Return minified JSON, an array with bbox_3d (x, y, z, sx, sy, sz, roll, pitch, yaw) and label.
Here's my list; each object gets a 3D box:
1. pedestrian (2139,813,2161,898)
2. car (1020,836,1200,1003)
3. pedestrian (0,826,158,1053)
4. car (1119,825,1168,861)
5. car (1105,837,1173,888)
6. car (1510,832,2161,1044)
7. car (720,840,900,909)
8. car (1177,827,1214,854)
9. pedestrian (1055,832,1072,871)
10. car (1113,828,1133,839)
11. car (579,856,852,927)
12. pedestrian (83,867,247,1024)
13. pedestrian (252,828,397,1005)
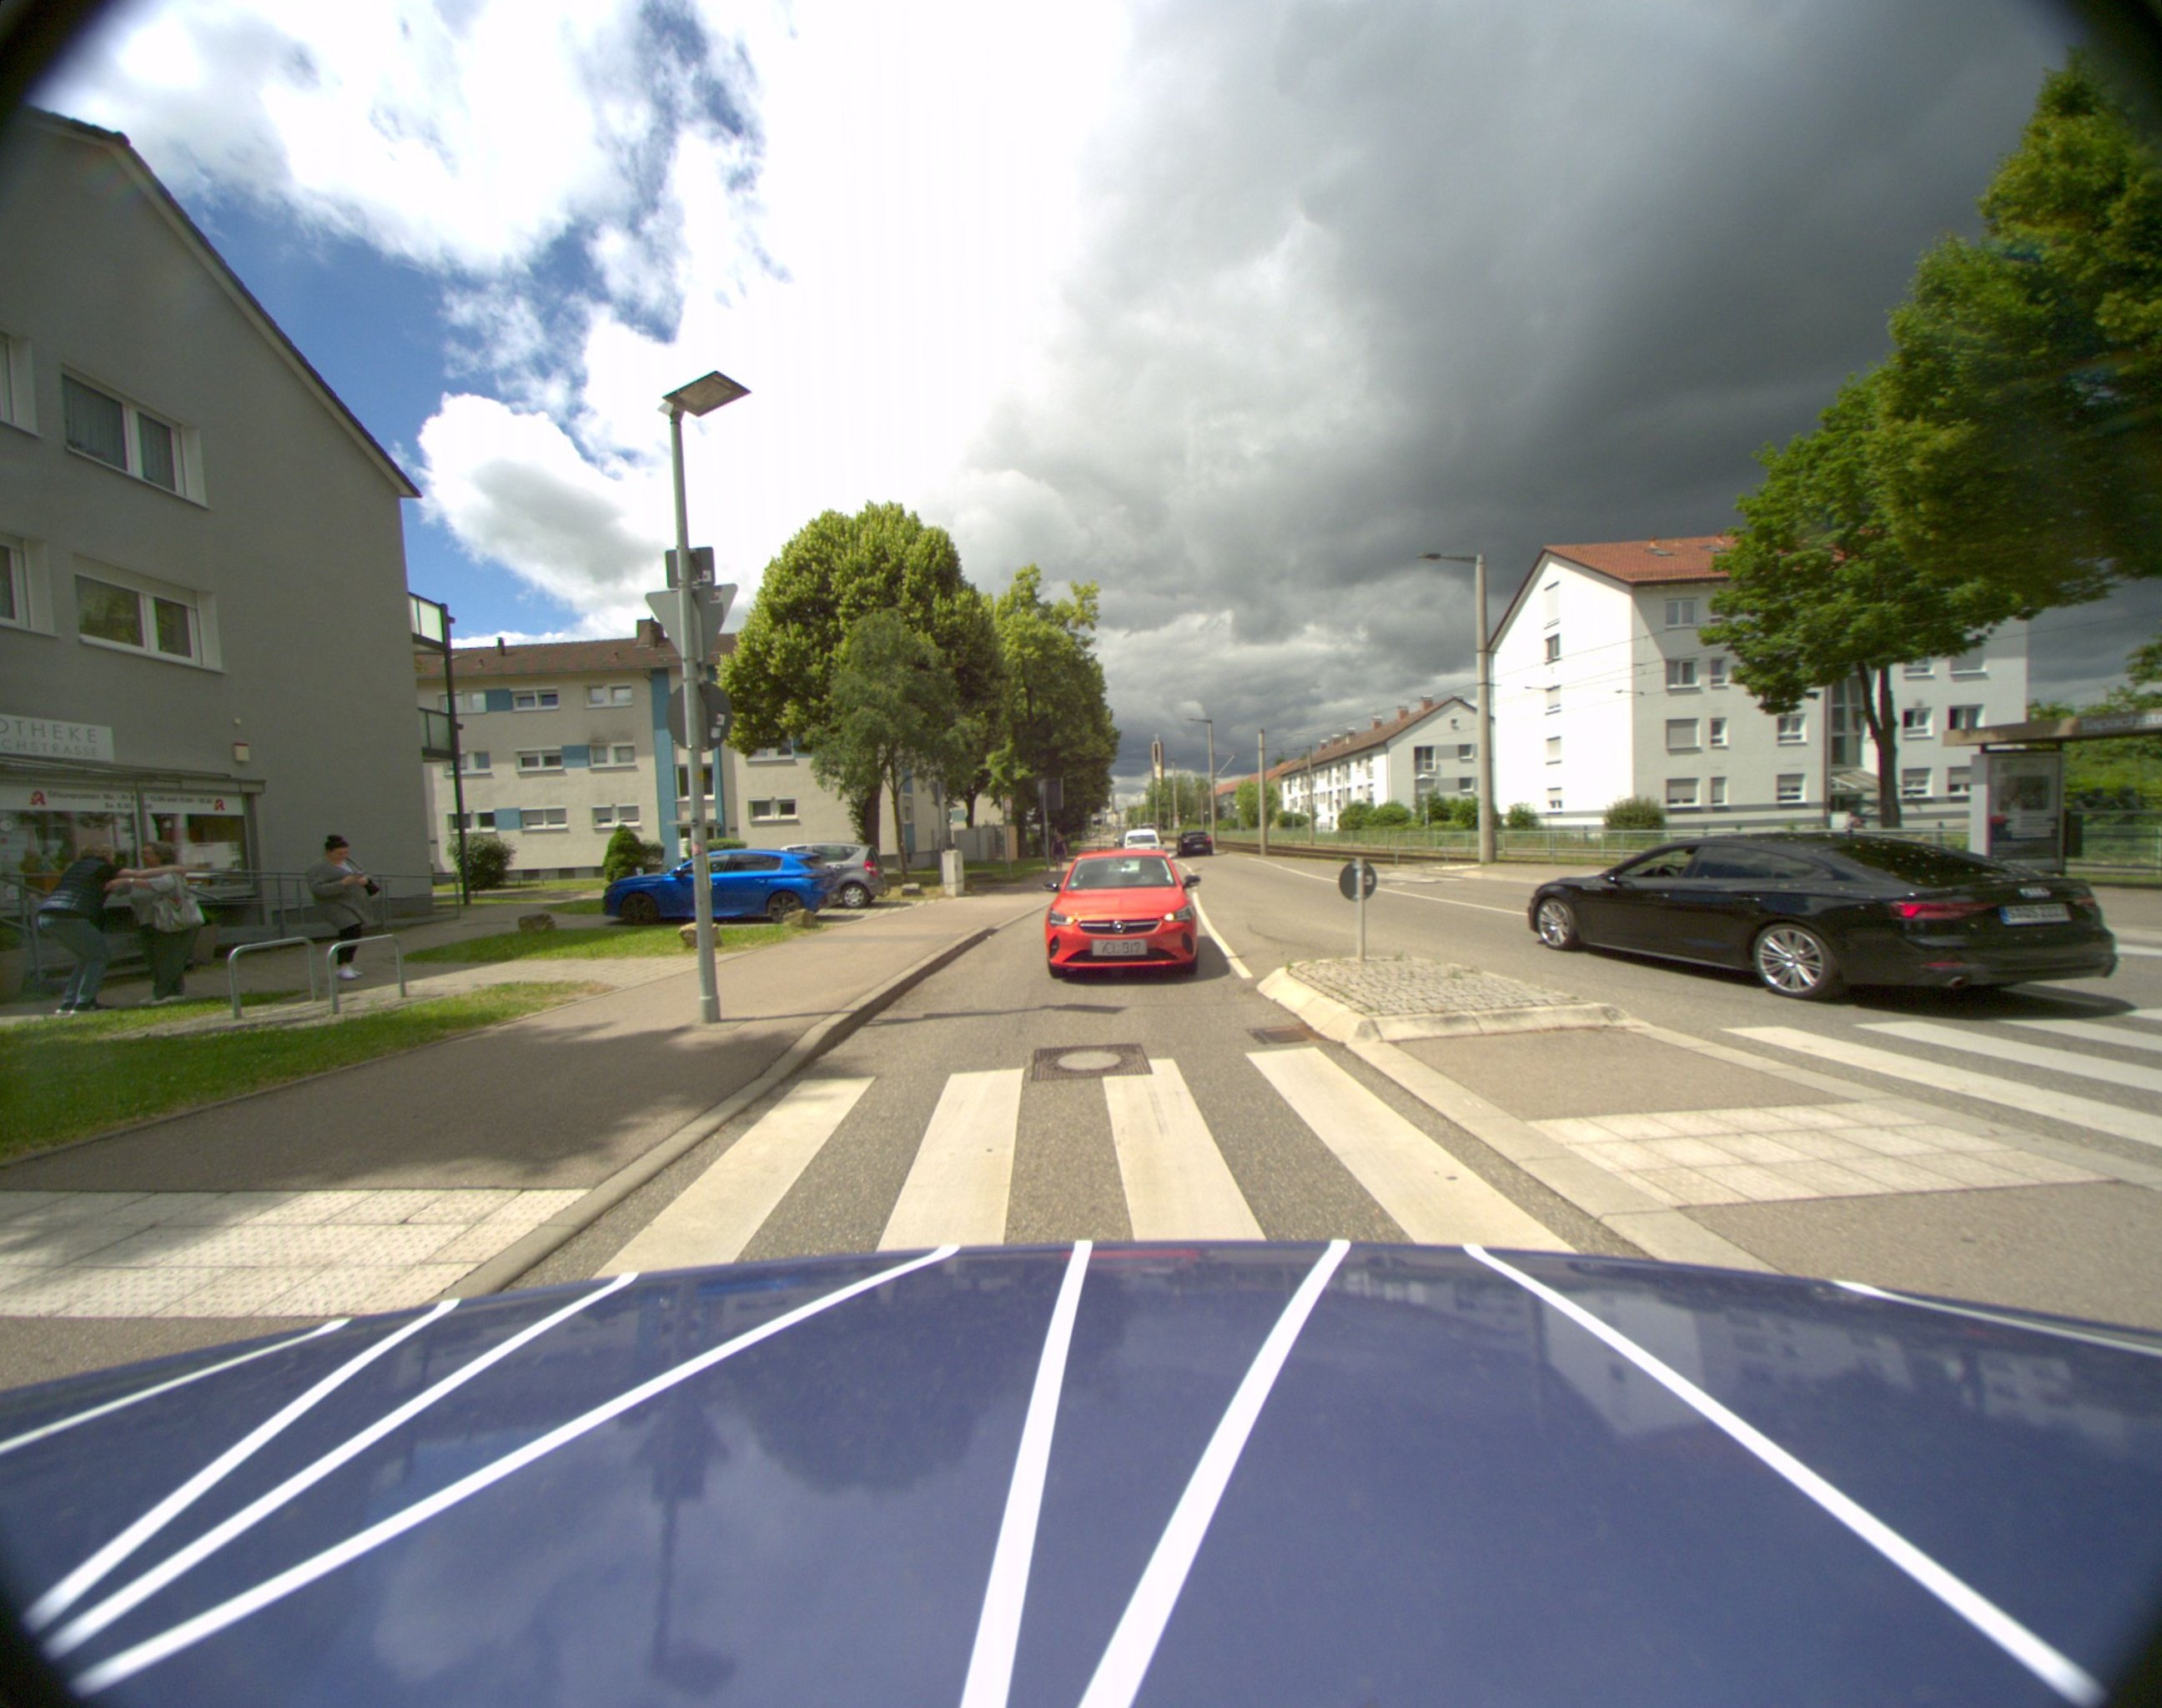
[{"bbox_3d":[14.949,0.014,9.987,0.800,1.129,0.911,-3,2,-1],"label":"pedestrian"},{"bbox_3d":[0.395,0.634,9.839,1.765,1.549,3.999,-3,3,3],"label":"car"},{"bbox_3d":[-9.761,0.742,7.176,0.655,2.003,1.046,-2,3,0],"label":"pedestrian"},{"bbox_3d":[2.939,-0.570,36.416,1.998,1.598,3.998,-2,2,0],"label":"car"},{"bbox_3d":[1.938,0.199,24.318,1.762,1.390,4.001,-1,2,10],"label":"car"},{"bbox_3d":[6.645,0.505,7.548,1.823,1.376,4.613,-2,2,-6],"label":"car"},{"bbox_3d":[-6.463,0.454,18.540,3.740,1.548,2.030,0,2,-5],"label":"car"},{"bbox_3d":[7.046,-0.832,47.026,1.998,1.517,4.526,-1,0,6],"label":"car"},{"bbox_3d":[-0.768,-0.110,32.765,0.684,1.651,0.831,-2,3,-3],"label":"pedestrian"},{"bbox_3d":[5.202,-2.534,93.069,1.917,1.309,4.001,-1,2,10],"label":"car"},{"bbox_3d":[-7.096,0.718,15.225,4.497,1.236,1.998,0,2,-7],"label":"car"},{"bbox_3d":[-9.519,0.921,7.934,0.744,1.521,0.691,-2,3,-3],"label":"pedestrian"},{"bbox_3d":[-8.935,0.680,8.999,0.840,1.945,0.944,0,3,31],"label":"pedestrian"}]
